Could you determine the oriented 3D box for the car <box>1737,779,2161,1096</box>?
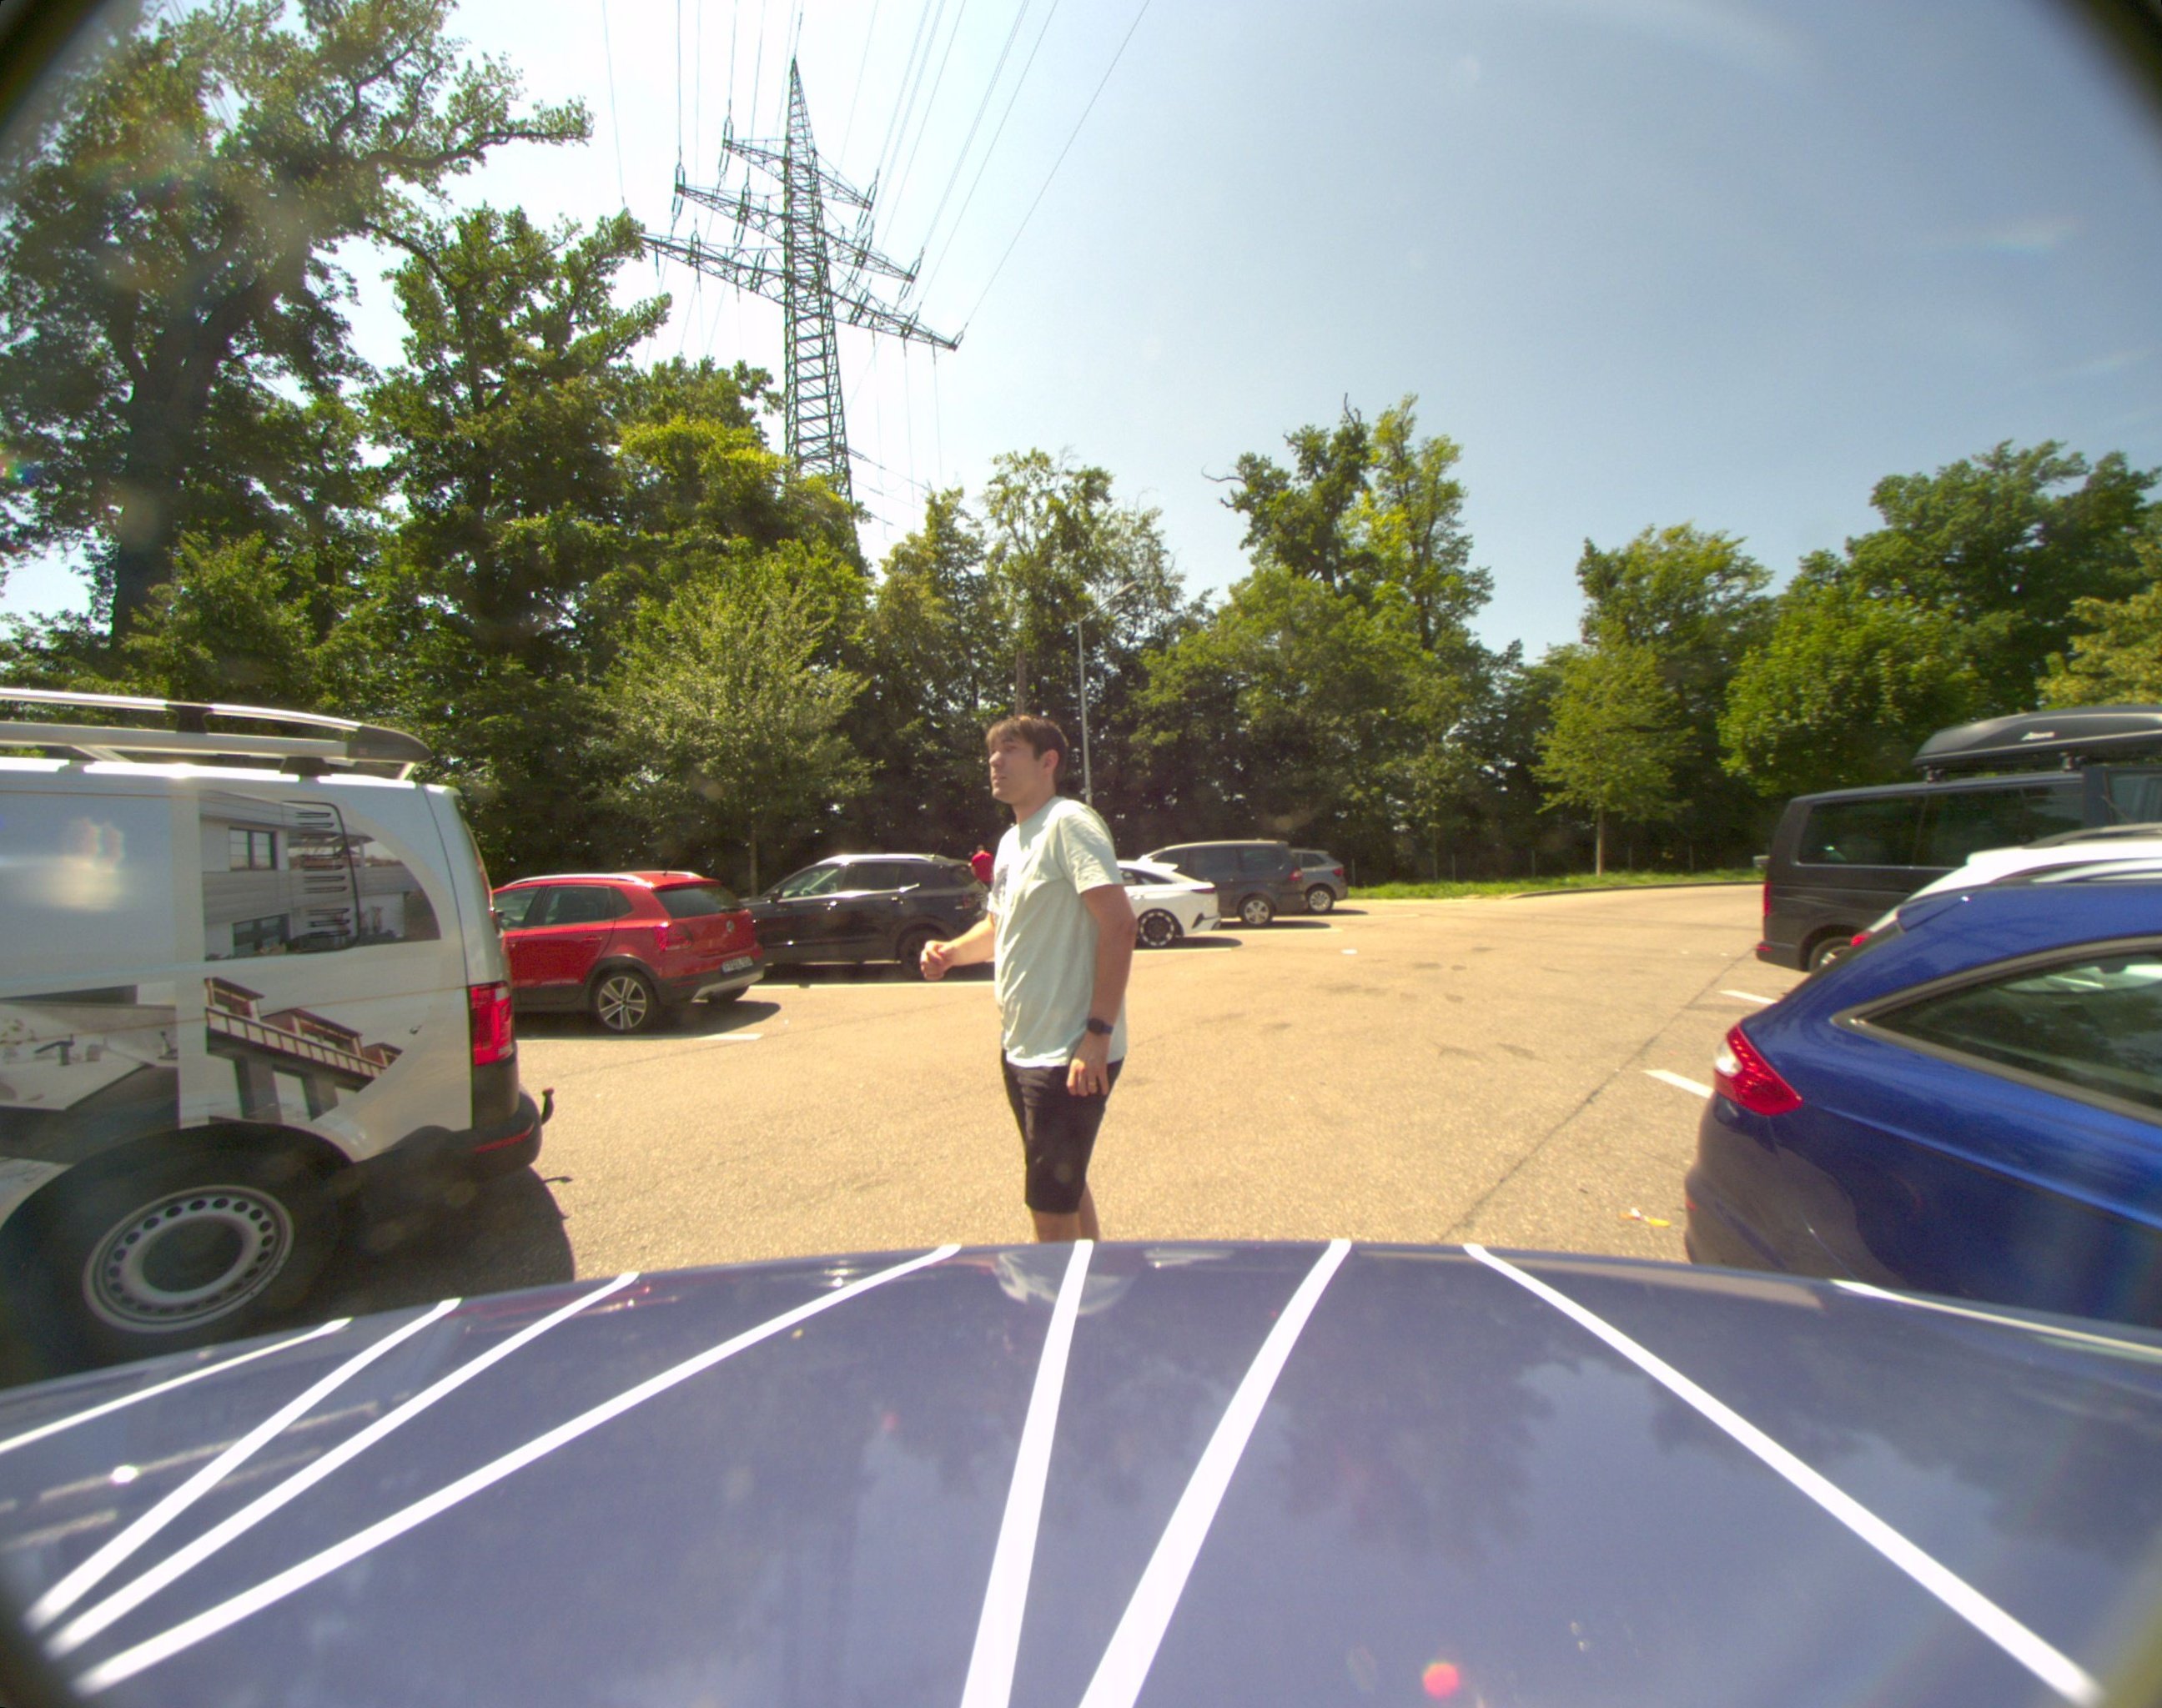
[{"bbox_3d":[7.303,0.461,5.012,2.048,1.850,4.430,-2,-1,-1],"label":"car"}]

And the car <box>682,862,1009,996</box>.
[{"bbox_3d":[-3.011,0.944,10.279,3.806,1.538,1.759,-1,1,2],"label":"car"}]

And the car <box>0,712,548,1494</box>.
[{"bbox_3d":[-4.697,0.734,1.790,5.323,2.137,1.995,-2,-1,-44],"label":"car"}]

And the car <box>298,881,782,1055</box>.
[{"bbox_3d":[-5.247,1.070,7.636,3.804,1.449,1.637,-1,1,7],"label":"car"}]

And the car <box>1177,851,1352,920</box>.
[{"bbox_3d":[4.252,0.713,18.104,3.805,1.468,1.743,-1,1,5],"label":"car"}]

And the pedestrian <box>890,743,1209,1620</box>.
[{"bbox_3d":[-0.141,0.691,2.059,0.634,1.857,0.747,-2,0,-17],"label":"pedestrian"}]

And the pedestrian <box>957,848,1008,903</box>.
[{"bbox_3d":[-2.417,0.522,18.690,0.890,1.292,0.865,-2,0,23],"label":"pedestrian"}]

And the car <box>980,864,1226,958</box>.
[{"bbox_3d":[0.403,0.913,12.729,3.805,1.359,1.803,-1,1,5],"label":"car"}]

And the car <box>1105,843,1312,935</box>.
[{"bbox_3d":[2.506,0.686,15.479,3.882,1.680,1.882,-1,0,5],"label":"car"}]

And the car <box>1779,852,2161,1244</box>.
[{"bbox_3d":[4.775,0.706,2.416,1.607,1.405,3.743,-2,-1,-1],"label":"car"}]
